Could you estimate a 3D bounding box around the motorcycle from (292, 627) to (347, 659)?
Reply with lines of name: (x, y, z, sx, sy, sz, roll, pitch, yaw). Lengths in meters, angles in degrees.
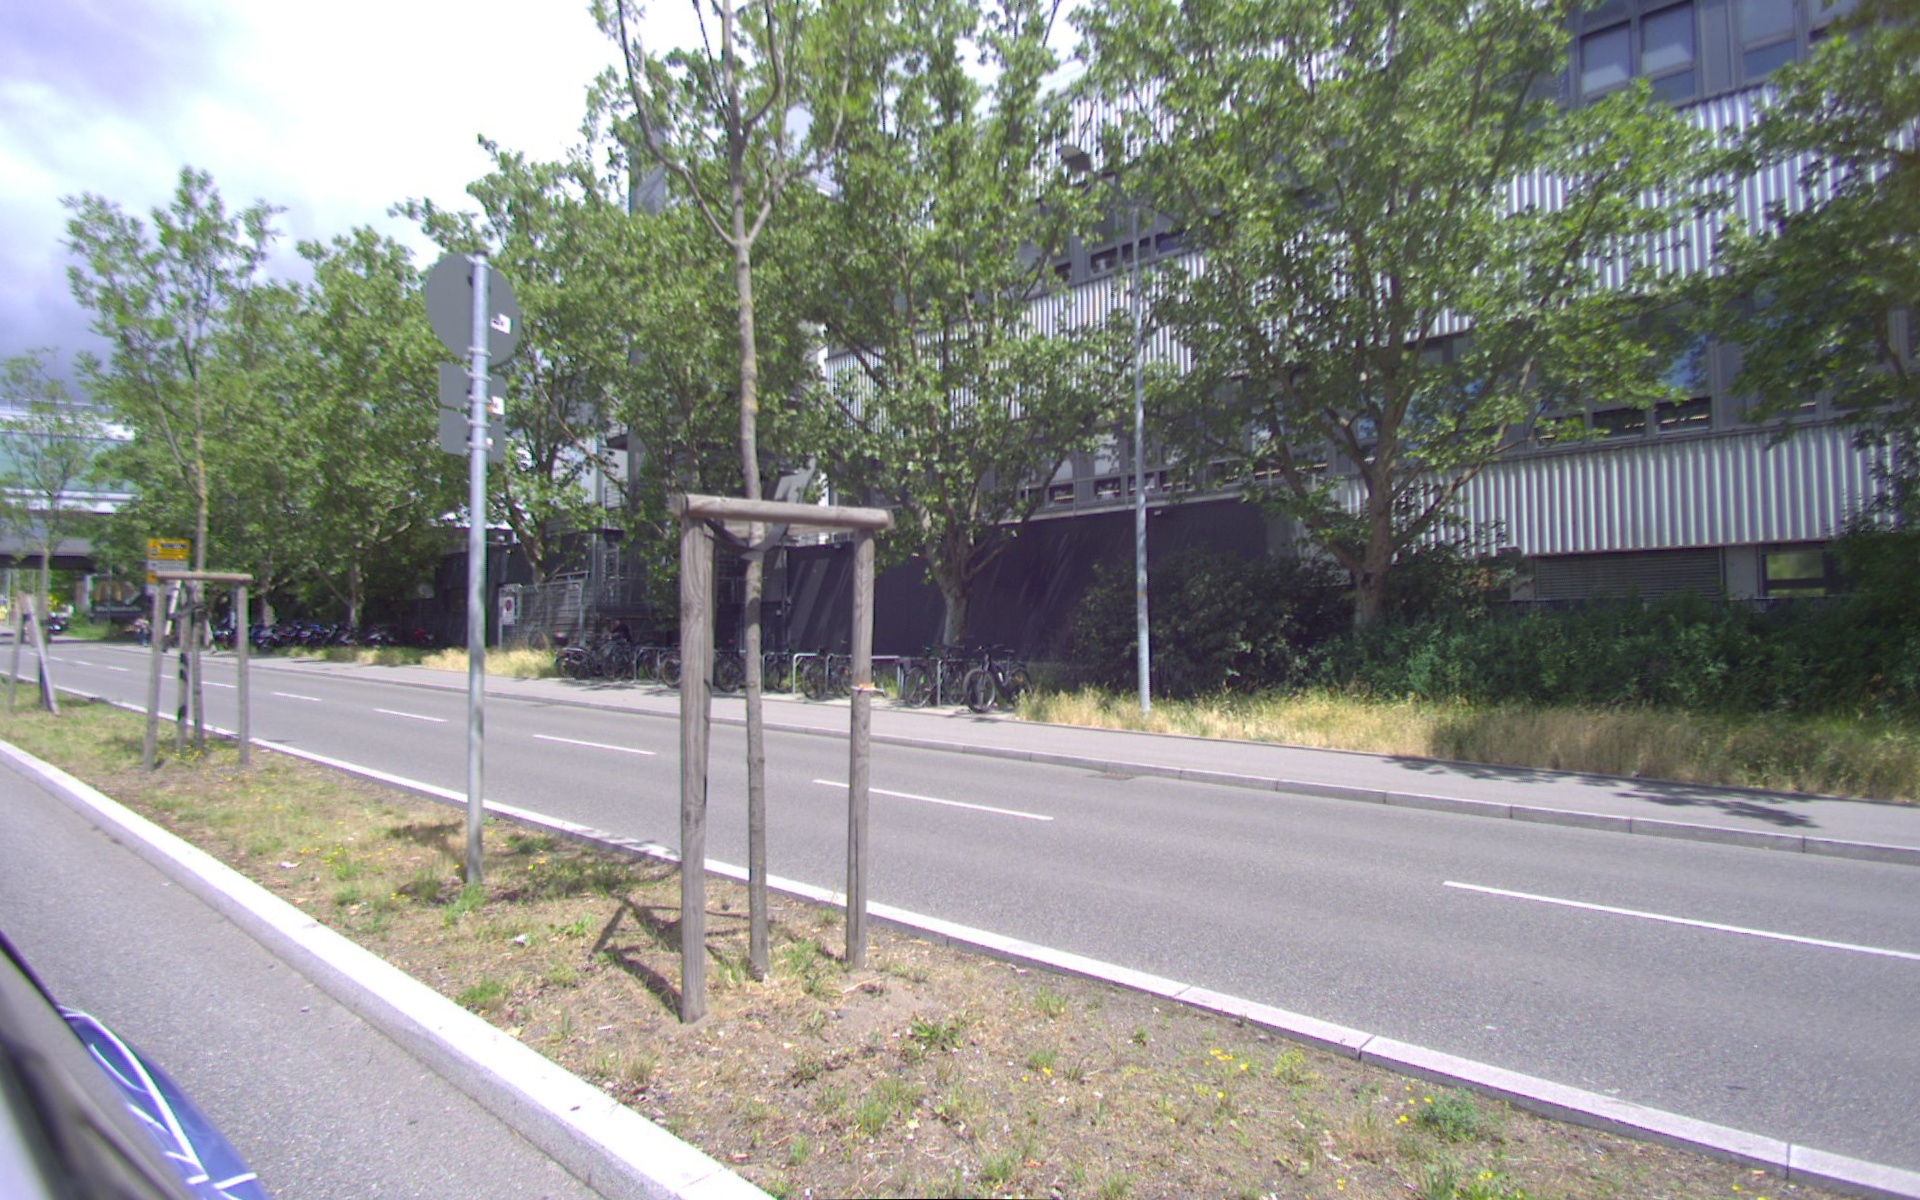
motorcycle: (-27.083, 1.810, 42.801, 0.655, 1.219, 1.857, -3, -1, 43)

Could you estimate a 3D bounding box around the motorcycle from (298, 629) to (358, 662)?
motorcycle: (-24.488, 1.756, 39.253, 1.855, 1.182, 0.746, -2, -1, -41)

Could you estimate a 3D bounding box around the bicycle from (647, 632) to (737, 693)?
bicycle: (-6.116, 1.395, 23.171, 0.805, 1.292, 1.899, -1, -1, 38)

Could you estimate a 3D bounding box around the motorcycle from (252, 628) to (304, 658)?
motorcycle: (-30.234, 1.904, 44.875, 1.853, 1.188, 0.817, -2, -1, -35)

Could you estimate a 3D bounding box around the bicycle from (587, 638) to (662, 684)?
bicycle: (-8.509, 1.531, 25.742, 0.422, 1.083, 1.905, -1, -1, 38)

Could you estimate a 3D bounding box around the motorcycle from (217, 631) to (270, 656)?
motorcycle: (-34.213, 2.071, 48.371, 1.904, 1.124, 0.924, -2, -1, -23)

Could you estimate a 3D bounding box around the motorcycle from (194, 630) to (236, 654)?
motorcycle: (-38.152, 2.155, 51.827, 0.776, 1.131, 1.574, -3, -1, 41)

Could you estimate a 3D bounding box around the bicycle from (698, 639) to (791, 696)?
bicycle: (-4.636, 1.434, 21.915, 0.805, 1.131, 1.899, -1, -1, 38)

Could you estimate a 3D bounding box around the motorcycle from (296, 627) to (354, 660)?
motorcycle: (-25.656, 1.745, 40.906, 1.855, 1.195, 0.730, -2, 0, -42)

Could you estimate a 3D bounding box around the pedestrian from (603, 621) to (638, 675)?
pedestrian: (-10.120, 1.419, 30.127, 0.744, 1.563, 0.822, 0, -1, -40)

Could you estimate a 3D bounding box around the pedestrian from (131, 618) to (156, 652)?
pedestrian: (-40.571, 1.714, 50.276, 0.812, 1.624, 0.760, -1, 1, 39)

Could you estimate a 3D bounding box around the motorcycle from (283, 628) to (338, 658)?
motorcycle: (-27.975, 1.866, 43.594, 0.698, 1.188, 1.857, -3, -1, 43)

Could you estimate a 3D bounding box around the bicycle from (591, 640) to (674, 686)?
bicycle: (-8.186, 1.556, 25.396, 0.497, 1.070, 2.060, -1, -1, 38)

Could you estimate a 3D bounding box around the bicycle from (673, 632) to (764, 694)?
bicycle: (-5.372, 1.379, 22.576, 0.805, 1.292, 1.899, -1, -1, 38)

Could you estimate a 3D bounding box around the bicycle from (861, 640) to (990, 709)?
bicycle: (-0.627, 1.381, 19.306, 2.533, 1.166, 0.727, 0, -1, -40)

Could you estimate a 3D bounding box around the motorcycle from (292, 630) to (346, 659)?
motorcycle: (-26.499, 1.838, 41.856, 1.853, 1.093, 0.796, -2, -1, -35)

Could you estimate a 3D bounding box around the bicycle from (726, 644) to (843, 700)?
bicycle: (-3.699, 1.500, 21.647, 0.848, 1.014, 2.814, -1, -1, 31)

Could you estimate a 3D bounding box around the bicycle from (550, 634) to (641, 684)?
bicycle: (-9.316, 1.482, 25.937, 0.805, 1.189, 2.113, -1, -1, 38)

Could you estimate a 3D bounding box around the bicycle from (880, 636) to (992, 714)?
bicycle: (-0.394, 1.306, 18.218, 0.555, 1.267, 2.379, -2, -2, 42)

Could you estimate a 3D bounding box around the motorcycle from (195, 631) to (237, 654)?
motorcycle: (-37.286, 2.126, 50.724, 0.776, 1.041, 1.574, -3, -1, 41)

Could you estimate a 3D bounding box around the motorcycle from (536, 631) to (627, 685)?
motorcycle: (-9.785, 1.471, 26.210, 0.805, 1.319, 2.113, -1, -1, 38)

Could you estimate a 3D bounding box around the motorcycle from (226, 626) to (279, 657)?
motorcycle: (-33.033, 1.924, 47.269, 1.905, 1.300, 0.895, -2, -1, -29)

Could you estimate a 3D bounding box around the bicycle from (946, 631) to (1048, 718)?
bicycle: (0.659, 1.242, 17.362, 0.489, 1.374, 2.144, -2, -2, 42)

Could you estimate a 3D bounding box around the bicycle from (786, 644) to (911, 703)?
bicycle: (-2.205, 1.441, 20.329, 2.532, 1.104, 0.697, 2, -3, -40)

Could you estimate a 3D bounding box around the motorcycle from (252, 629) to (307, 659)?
motorcycle: (-29.476, 1.920, 43.853, 1.855, 1.188, 0.816, -2, -1, -41)

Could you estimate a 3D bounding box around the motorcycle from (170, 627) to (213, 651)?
motorcycle: (-40.863, 2.078, 53.827, 1.721, 1.180, 0.777, -2, -1, -42)

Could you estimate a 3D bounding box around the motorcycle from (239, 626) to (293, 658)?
motorcycle: (-31.348, 1.887, 45.761, 1.905, 1.354, 0.867, -2, -1, -29)

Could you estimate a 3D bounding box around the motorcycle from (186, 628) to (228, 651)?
motorcycle: (-39.186, 2.047, 52.673, 0.773, 1.131, 1.579, -3, -1, 31)

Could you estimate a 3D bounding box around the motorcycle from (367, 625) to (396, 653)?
motorcycle: (-26.451, 1.797, 46.268, 1.983, 1.219, 0.645, -3, -1, 45)

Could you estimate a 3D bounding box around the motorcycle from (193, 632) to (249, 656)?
motorcycle: (-35.833, 2.131, 49.093, 0.917, 1.124, 1.919, 0, -3, 28)

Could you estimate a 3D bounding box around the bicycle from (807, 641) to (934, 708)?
bicycle: (-1.707, 1.407, 19.701, 2.533, 1.166, 0.645, 0, -1, -40)

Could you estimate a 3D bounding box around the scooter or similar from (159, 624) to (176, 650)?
scooter or similar: (-39.148, 1.826, 49.977, 1.478, 1.245, 0.350, 0, 0, 40)

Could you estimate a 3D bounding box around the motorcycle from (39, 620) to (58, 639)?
motorcycle: (-63.041, 2.034, 70.013, 2.255, 1.207, 0.633, 0, 1, 39)

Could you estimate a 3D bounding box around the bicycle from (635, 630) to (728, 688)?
bicycle: (-6.684, 1.395, 24.388, 0.805, 1.292, 2.113, -1, -1, 38)
